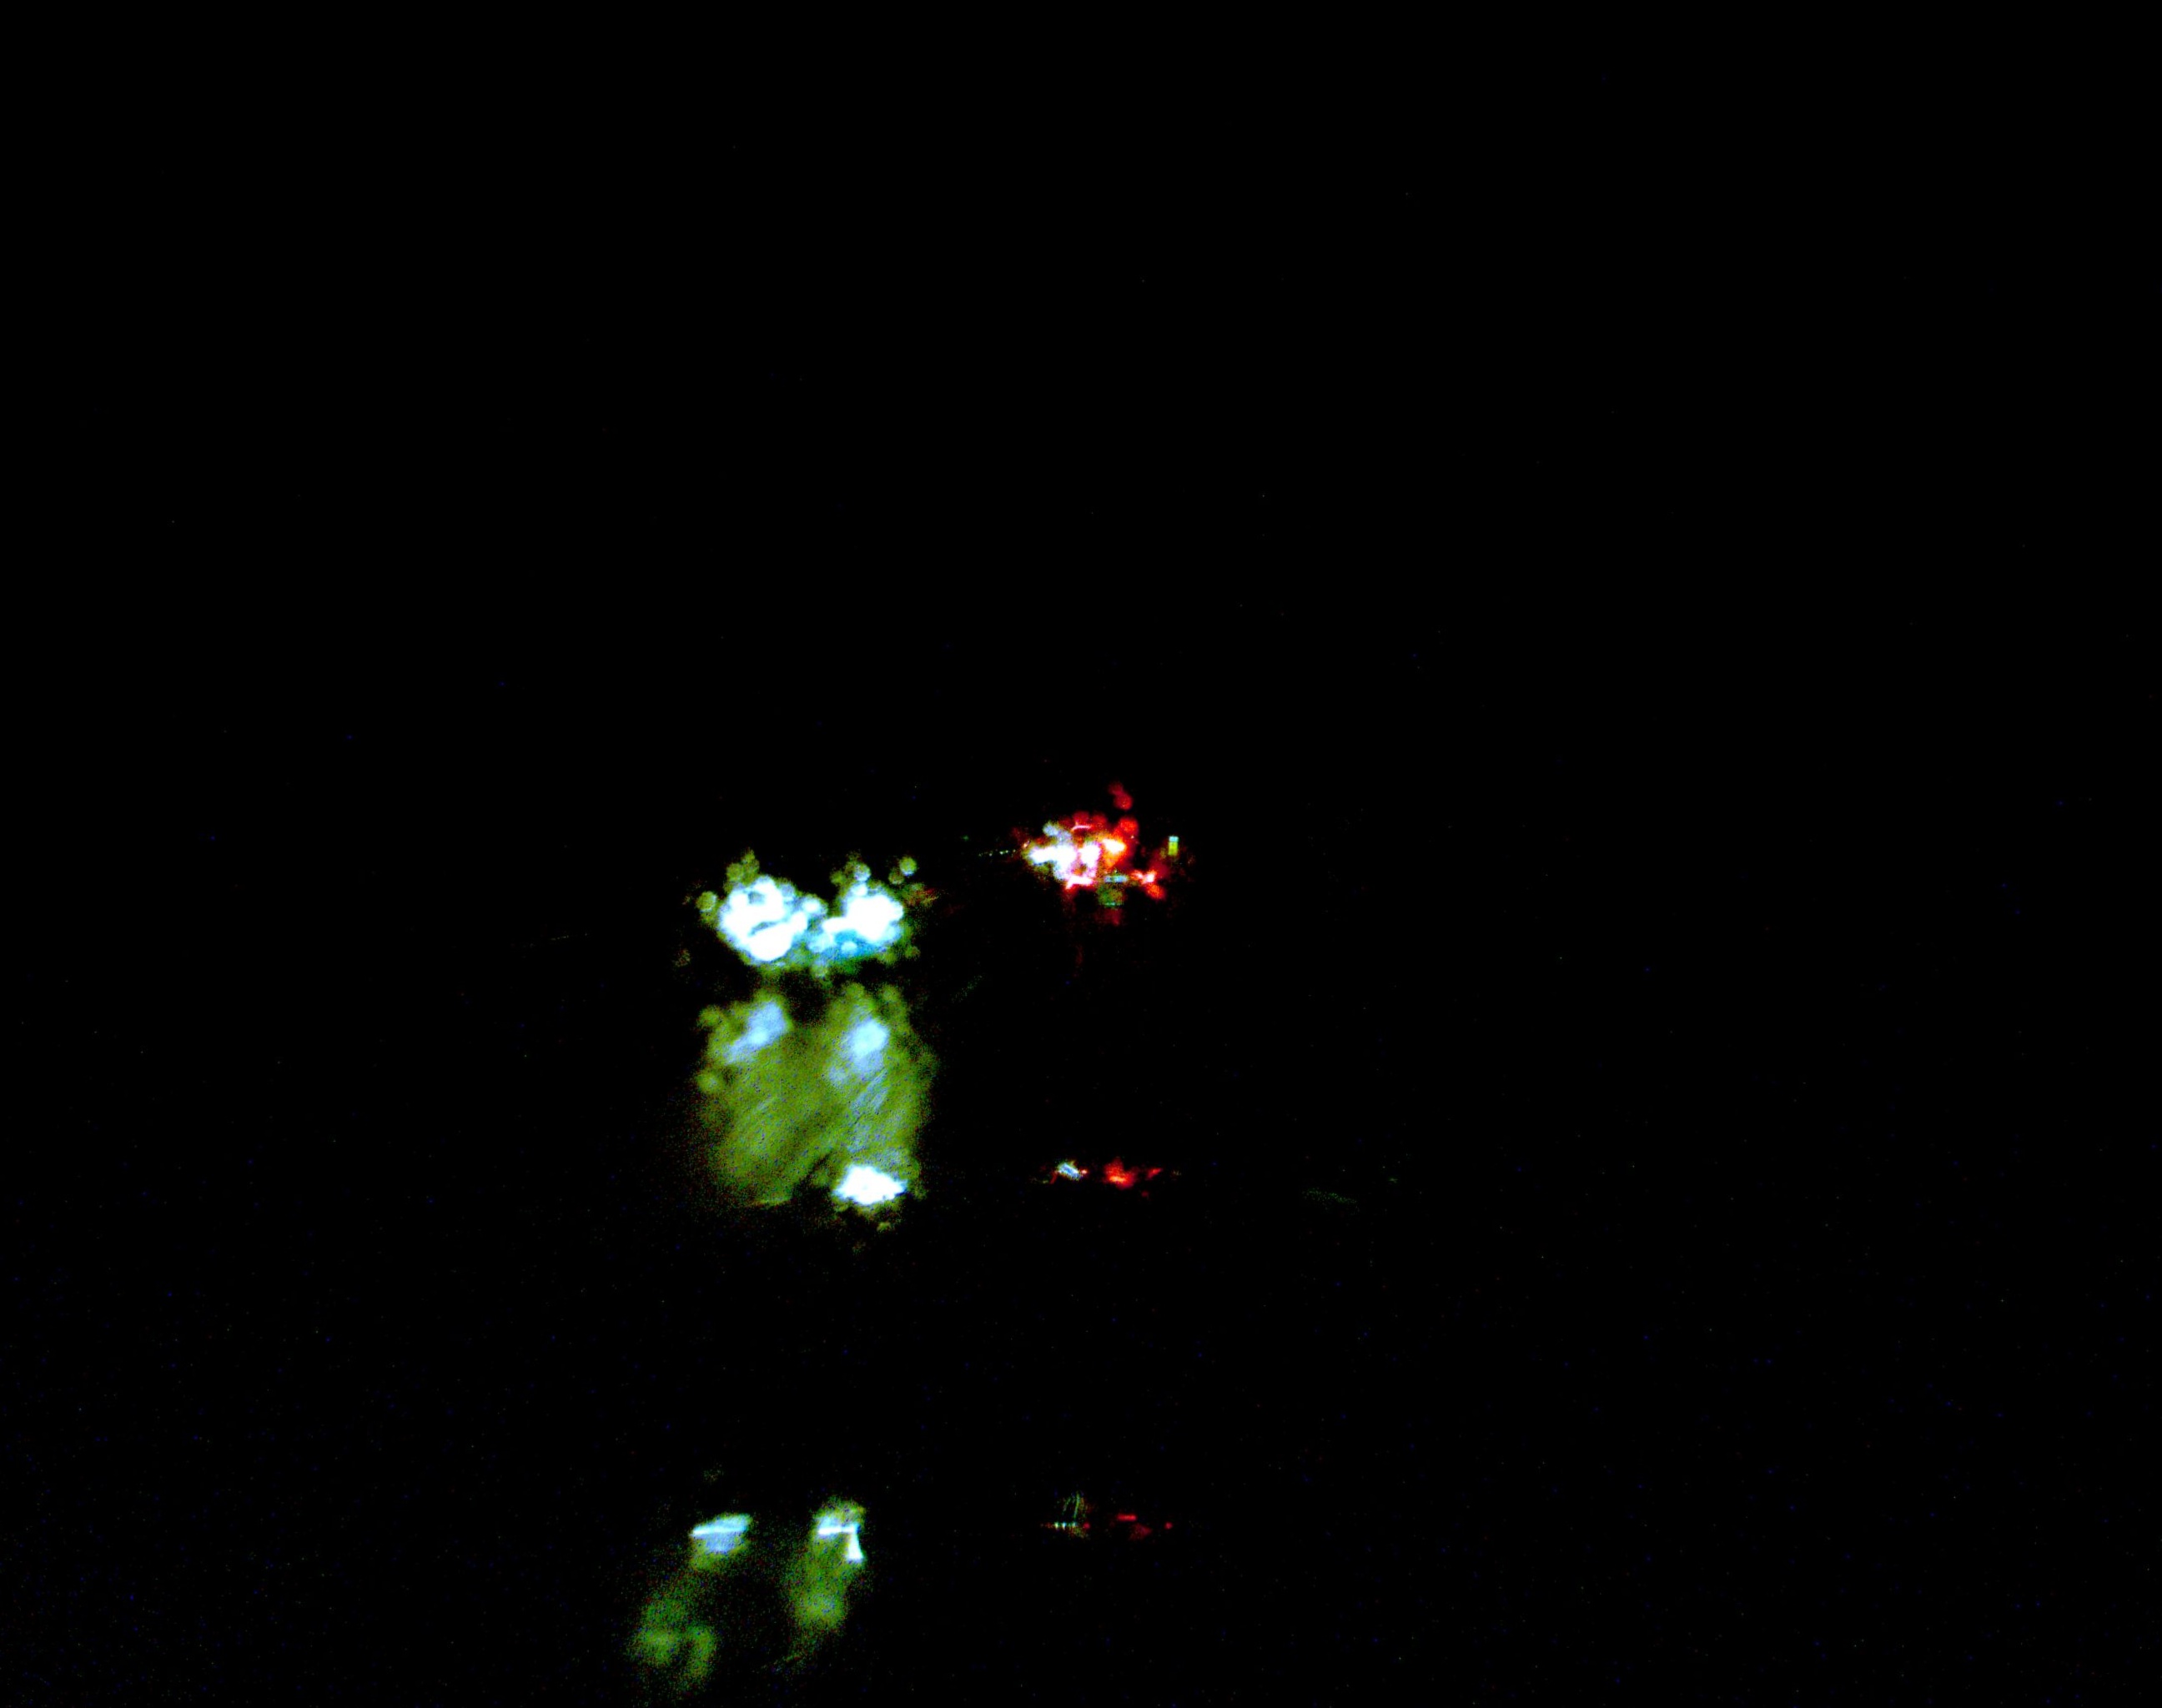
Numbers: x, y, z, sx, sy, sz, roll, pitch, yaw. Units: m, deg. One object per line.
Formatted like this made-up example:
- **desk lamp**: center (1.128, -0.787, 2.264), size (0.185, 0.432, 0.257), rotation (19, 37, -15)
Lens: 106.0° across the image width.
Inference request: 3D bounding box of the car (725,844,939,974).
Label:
- **car**: center (-3.446, 0.659, 12.163), size (1.856, 1.544, 4.229), rotation (1, 1, 0)

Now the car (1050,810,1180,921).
- **car**: center (0.757, 0.224, 20.027), size (2.706, 2.307, 6.101), rotation (0, 0, 1)

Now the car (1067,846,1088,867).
- **car**: center (-0.348, 0.250, 83.419), size (1.987, 1.914, 4.000), rotation (4, 0, 0)
